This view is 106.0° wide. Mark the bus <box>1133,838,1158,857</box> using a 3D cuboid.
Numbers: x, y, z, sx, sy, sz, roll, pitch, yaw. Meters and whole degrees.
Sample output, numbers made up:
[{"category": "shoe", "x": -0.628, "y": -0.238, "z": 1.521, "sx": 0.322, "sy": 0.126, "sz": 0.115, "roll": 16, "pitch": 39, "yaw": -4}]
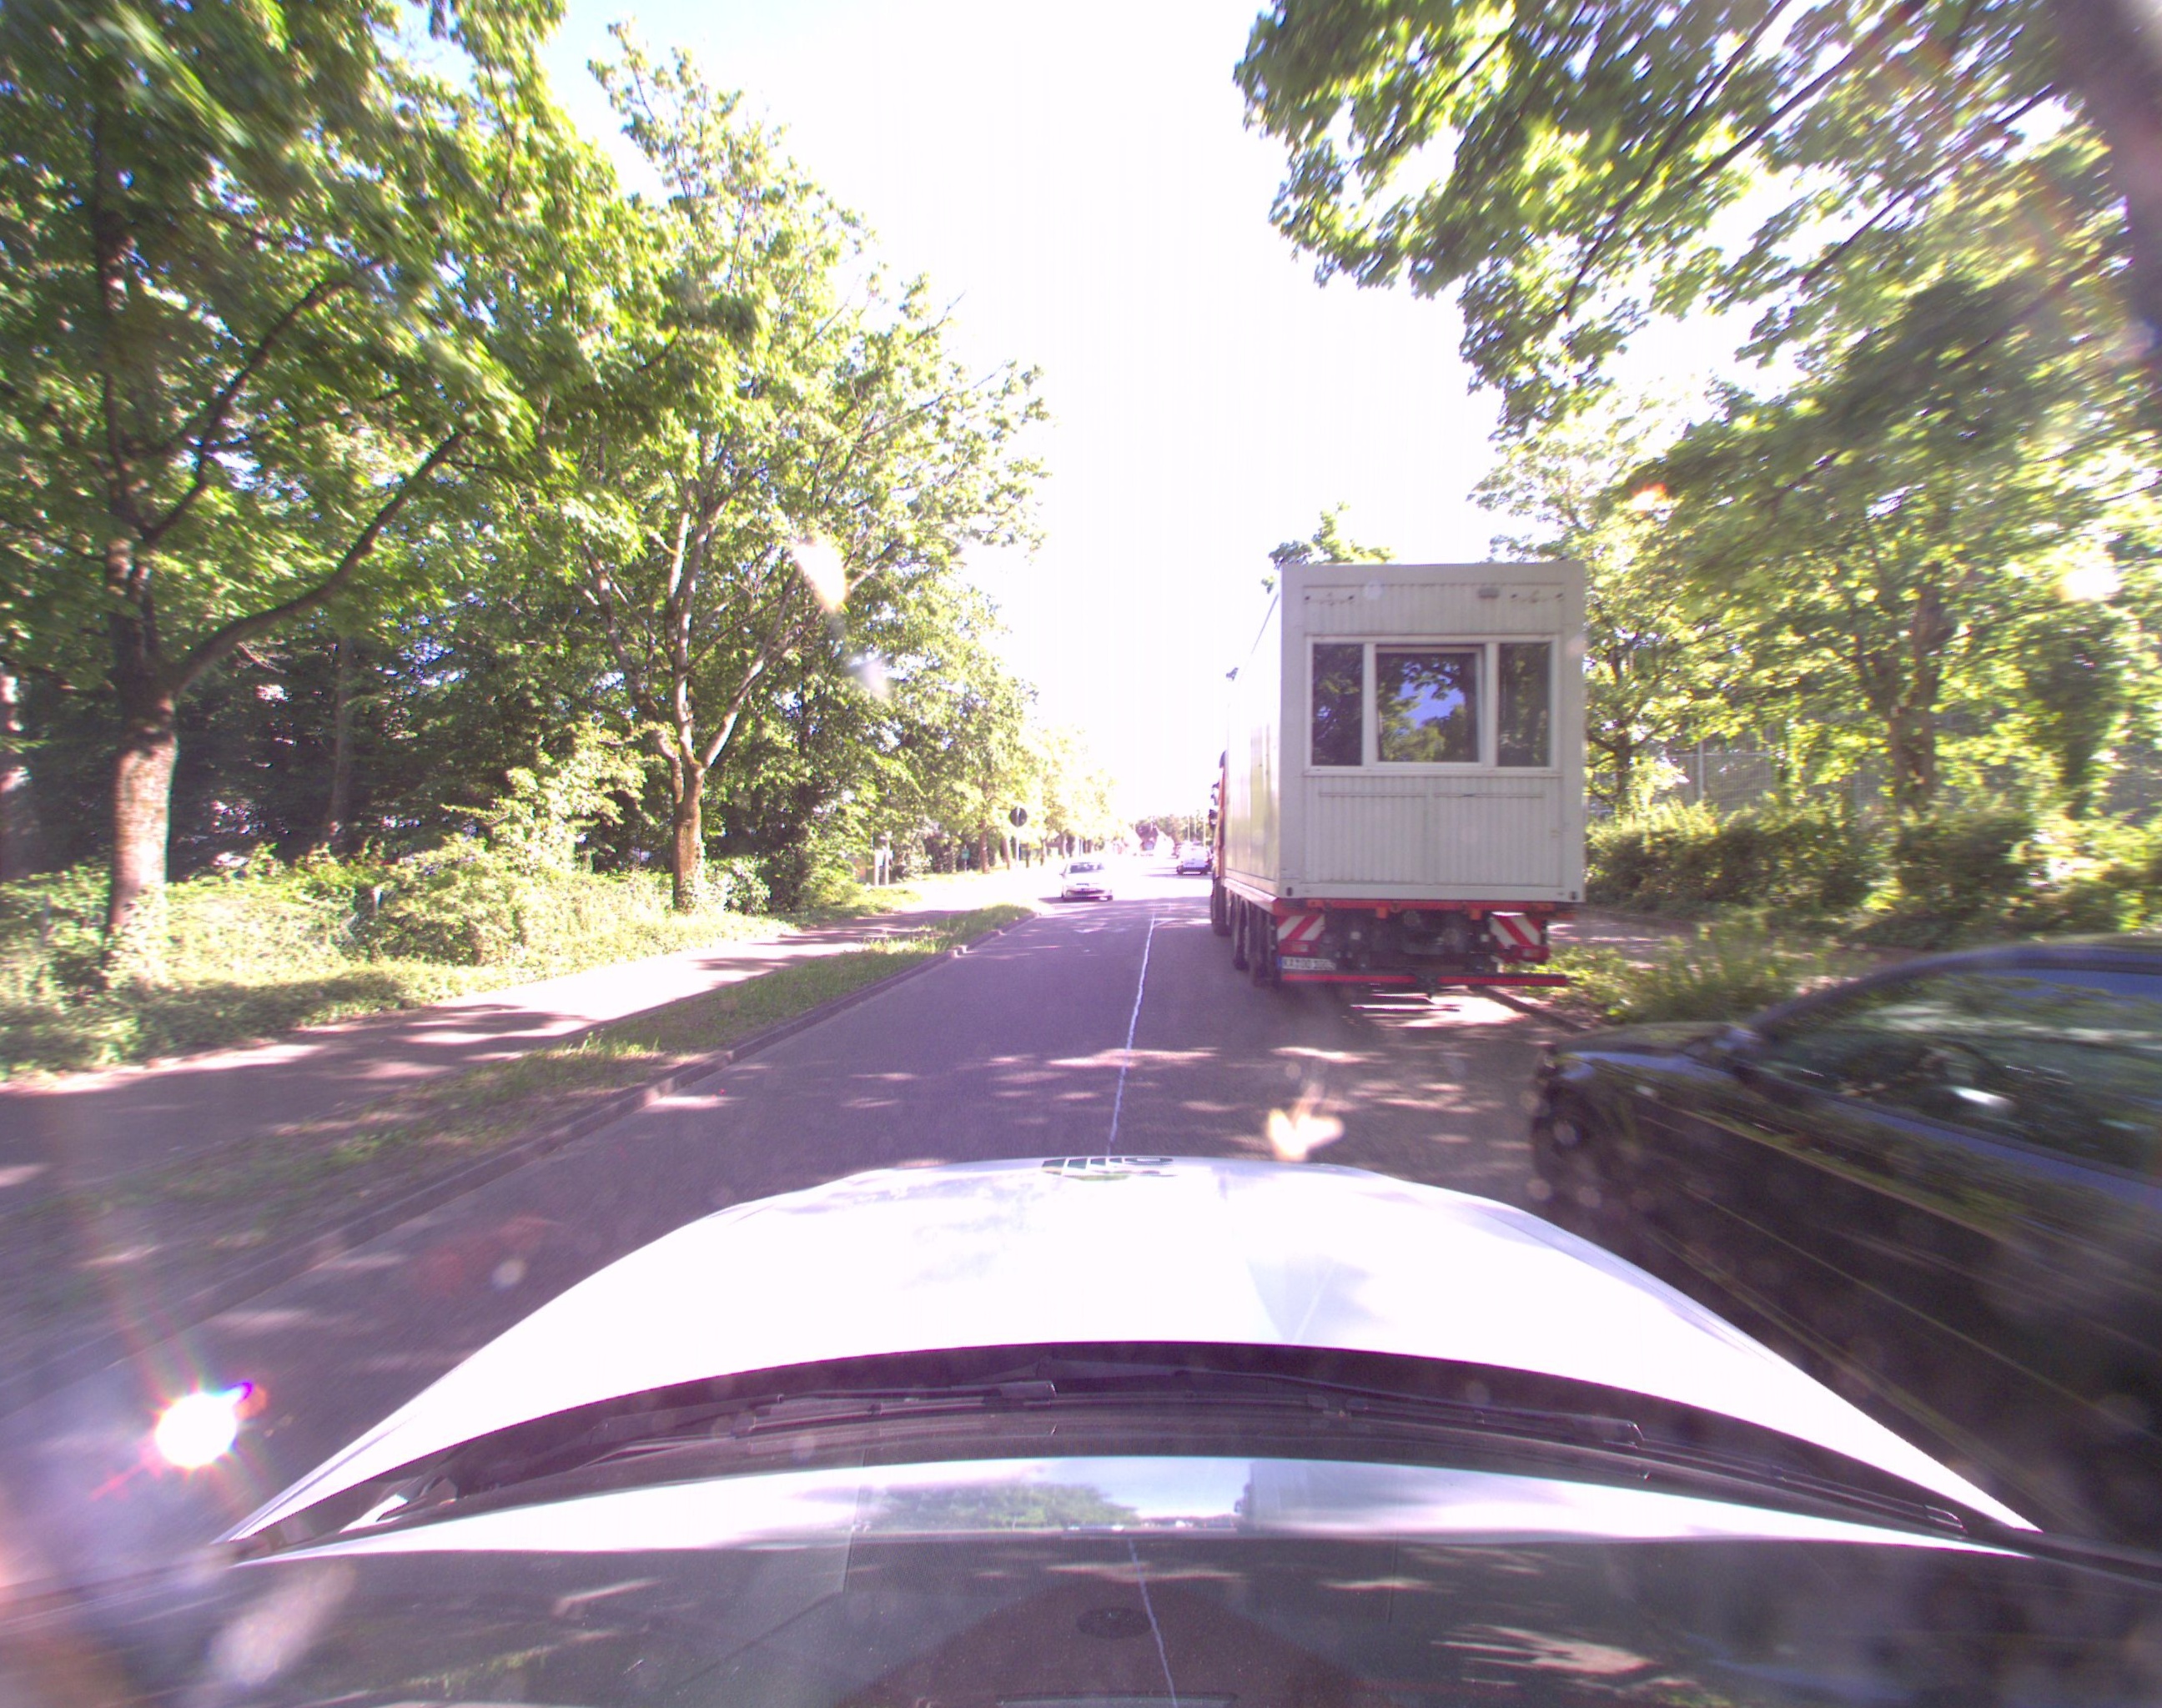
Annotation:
[{"category": "bus", "x": 12.171, "y": -1.221, "z": 152.620, "sx": 4.042, "sy": 3.349, "sz": 9.823, "roll": -2, "pitch": 0, "yaw": 8}]

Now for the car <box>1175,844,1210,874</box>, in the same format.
[{"category": "car", "x": 7.222, "y": 0.310, "z": 53.097, "sx": 1.938, "sy": 1.843, "sz": 4.003, "roll": -1, "pitch": 0, "yaw": 3}]

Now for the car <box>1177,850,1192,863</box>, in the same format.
[{"category": "car", "x": 13.351, "y": 0.291, "z": 105.053, "sx": 1.773, "sy": 1.652, "sz": 4.006, "roll": -2, "pitch": 0, "yaw": 5}]

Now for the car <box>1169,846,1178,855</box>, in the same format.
[{"category": "car", "x": 19.994, "y": -0.709, "z": 175.314, "sx": 1.773, "sy": 1.808, "sz": 4.006, "roll": -2, "pitch": 0, "yaw": 5}]

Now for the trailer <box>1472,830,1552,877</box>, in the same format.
[{"category": "trailer", "x": 20.387, "y": -0.011, "z": 38.594, "sx": 2.930, "sy": 2.116, "sz": 1.612, "roll": -1, "pitch": 0, "yaw": 4}]

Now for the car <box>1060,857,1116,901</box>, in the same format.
[{"category": "car", "x": 0.182, "y": 0.845, "z": 29.476, "sx": 1.801, "sy": 1.420, "sz": 3.956, "roll": -3, "pitch": 0, "yaw": -2}]

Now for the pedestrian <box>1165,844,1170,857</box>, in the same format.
[{"category": "pedestrian", "x": 13.937, "y": -0.609, "z": 130.759, "sx": 0.748, "sy": 2.113, "sz": 0.801, "roll": 1, "pitch": 0, "yaw": 8}]

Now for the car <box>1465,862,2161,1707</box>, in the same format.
[{"category": "car", "x": 2.531, "y": 0.762, "z": 1.837, "sx": 1.633, "sy": 1.420, "sz": 4.003, "roll": 0, "pitch": 0, "yaw": 3}]

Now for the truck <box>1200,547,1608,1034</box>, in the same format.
[{"category": "truck", "x": 3.426, "y": -0.567, "z": 11.953, "sx": 2.759, "sy": 3.995, "sz": 10.364, "roll": 0, "pitch": 0, "yaw": 5}]
